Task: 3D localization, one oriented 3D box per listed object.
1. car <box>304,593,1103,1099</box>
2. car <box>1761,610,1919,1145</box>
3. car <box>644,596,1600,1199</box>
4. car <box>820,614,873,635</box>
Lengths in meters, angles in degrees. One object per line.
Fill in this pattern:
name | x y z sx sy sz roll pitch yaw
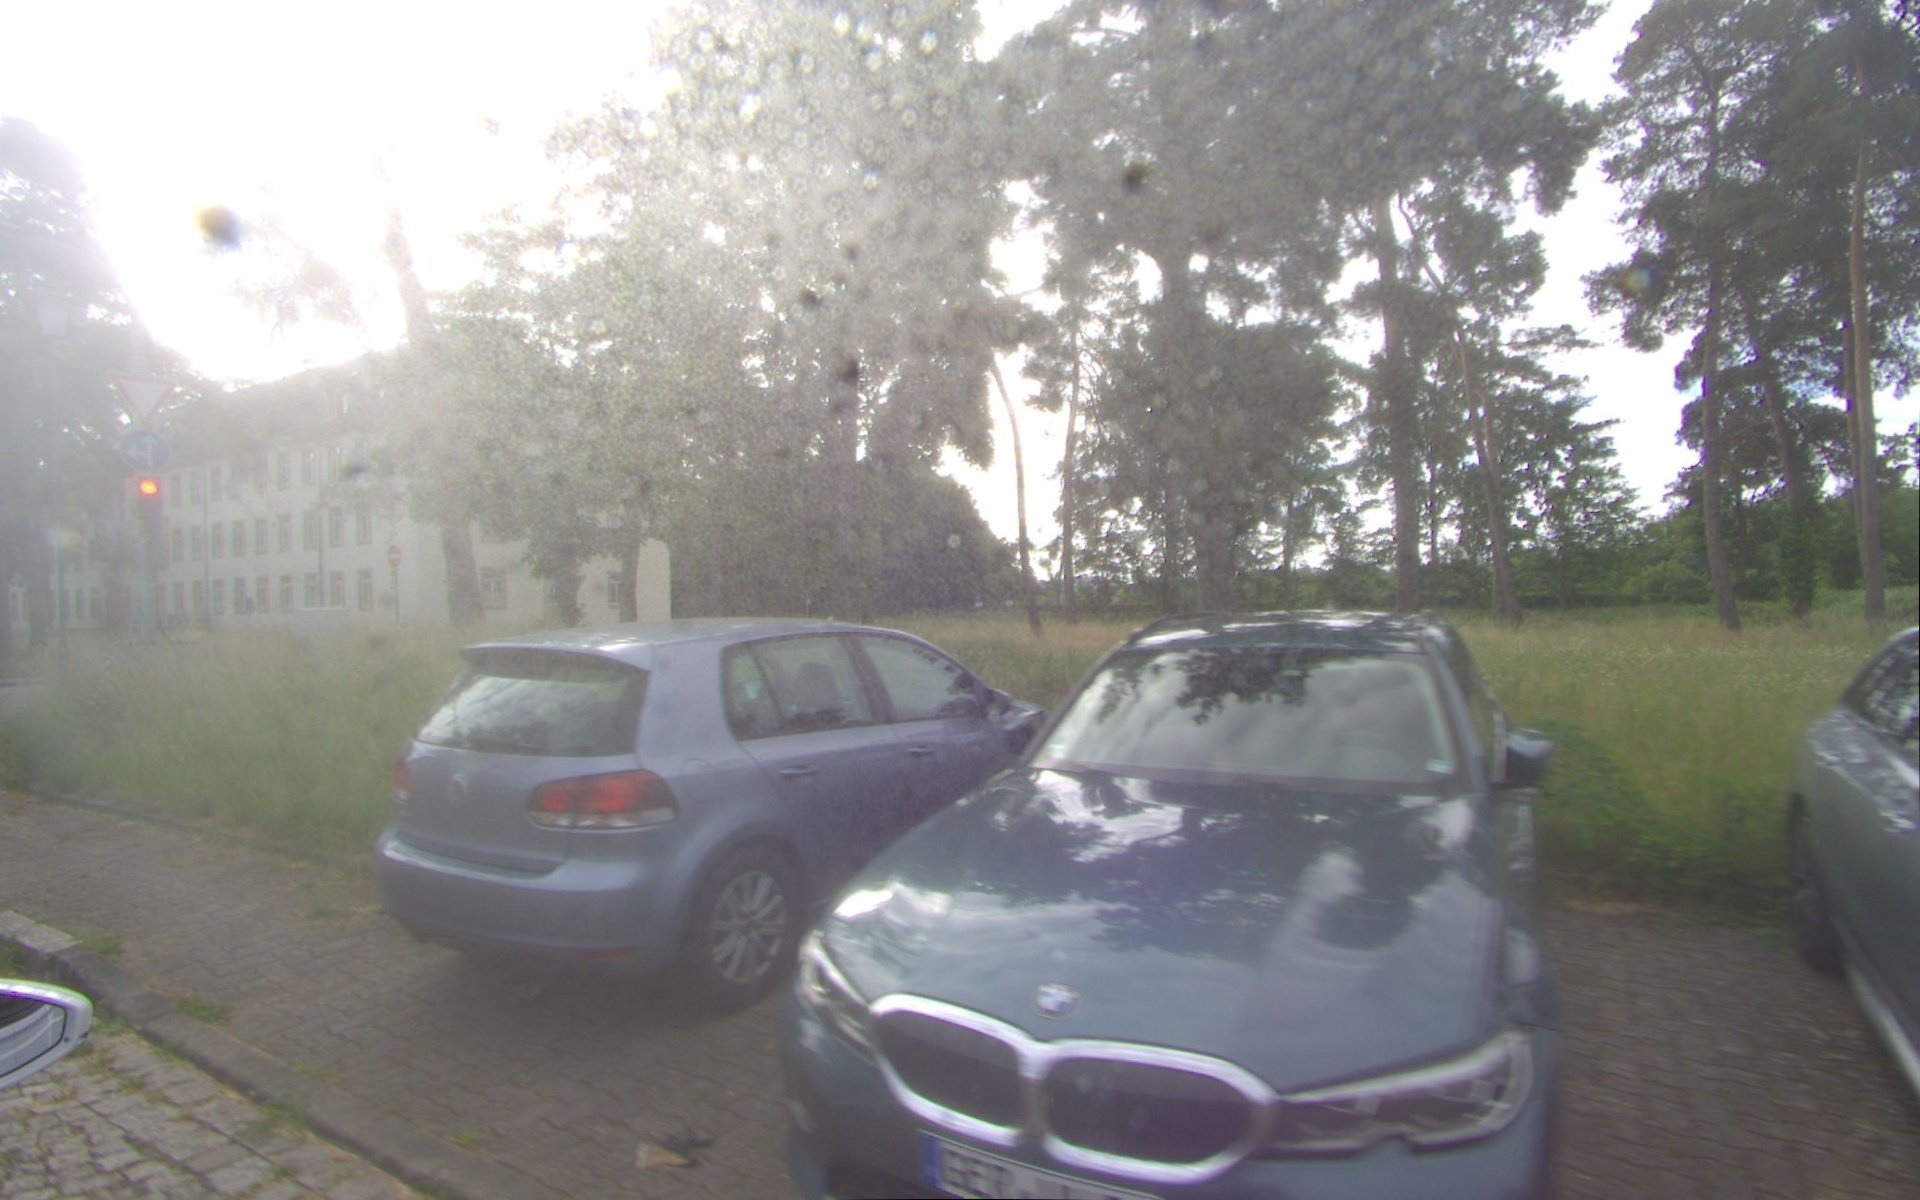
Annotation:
car | -0.848 0.763 5.186 1.619 1.497 3.916 -1 1 33
car | 3.430 0.813 2.230 1.843 1.436 4.415 -1 1 29
car | 1.237 0.768 3.881 1.843 1.436 4.673 -1 1 30
car | -8.169 1.786 72.572 1.628 1.439 3.939 -1 -3 34
